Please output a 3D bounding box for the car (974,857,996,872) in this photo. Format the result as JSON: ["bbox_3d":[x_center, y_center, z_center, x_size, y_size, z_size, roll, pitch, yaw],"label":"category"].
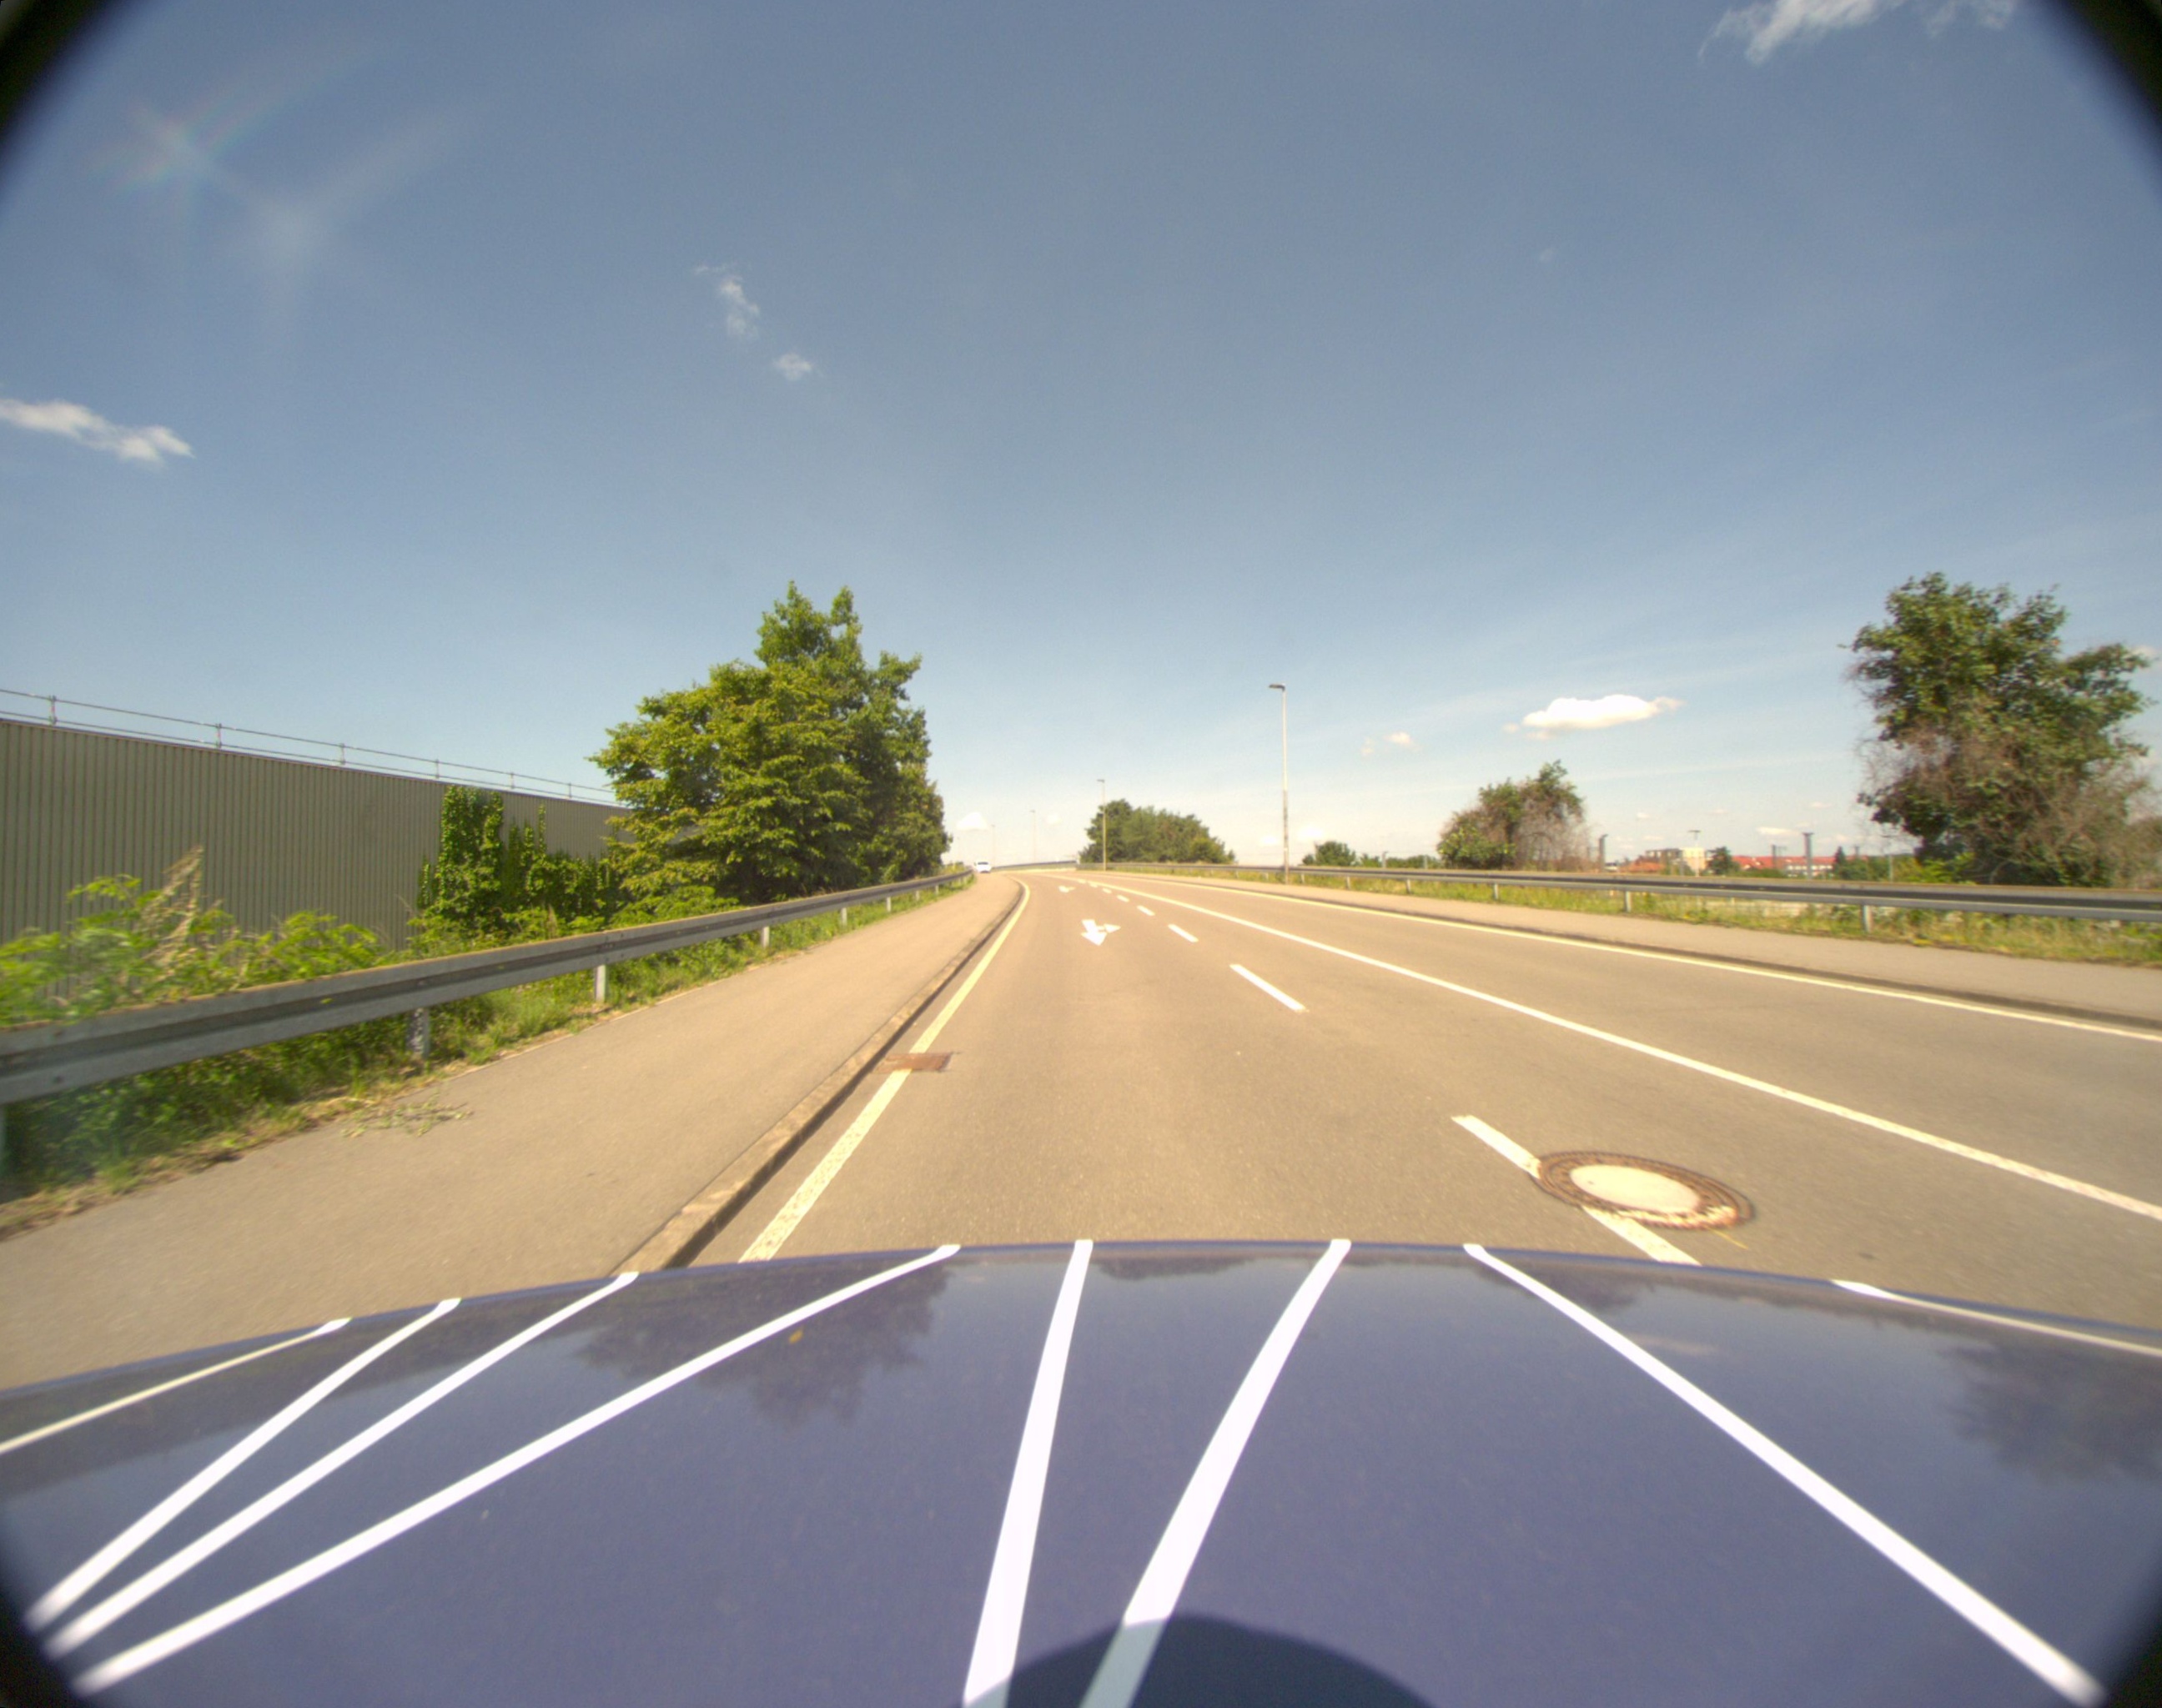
[{"bbox_3d":[-12.631,1.443,99.786,2.095,1.750,4.277,-3,-1,-18],"label":"car"}]
